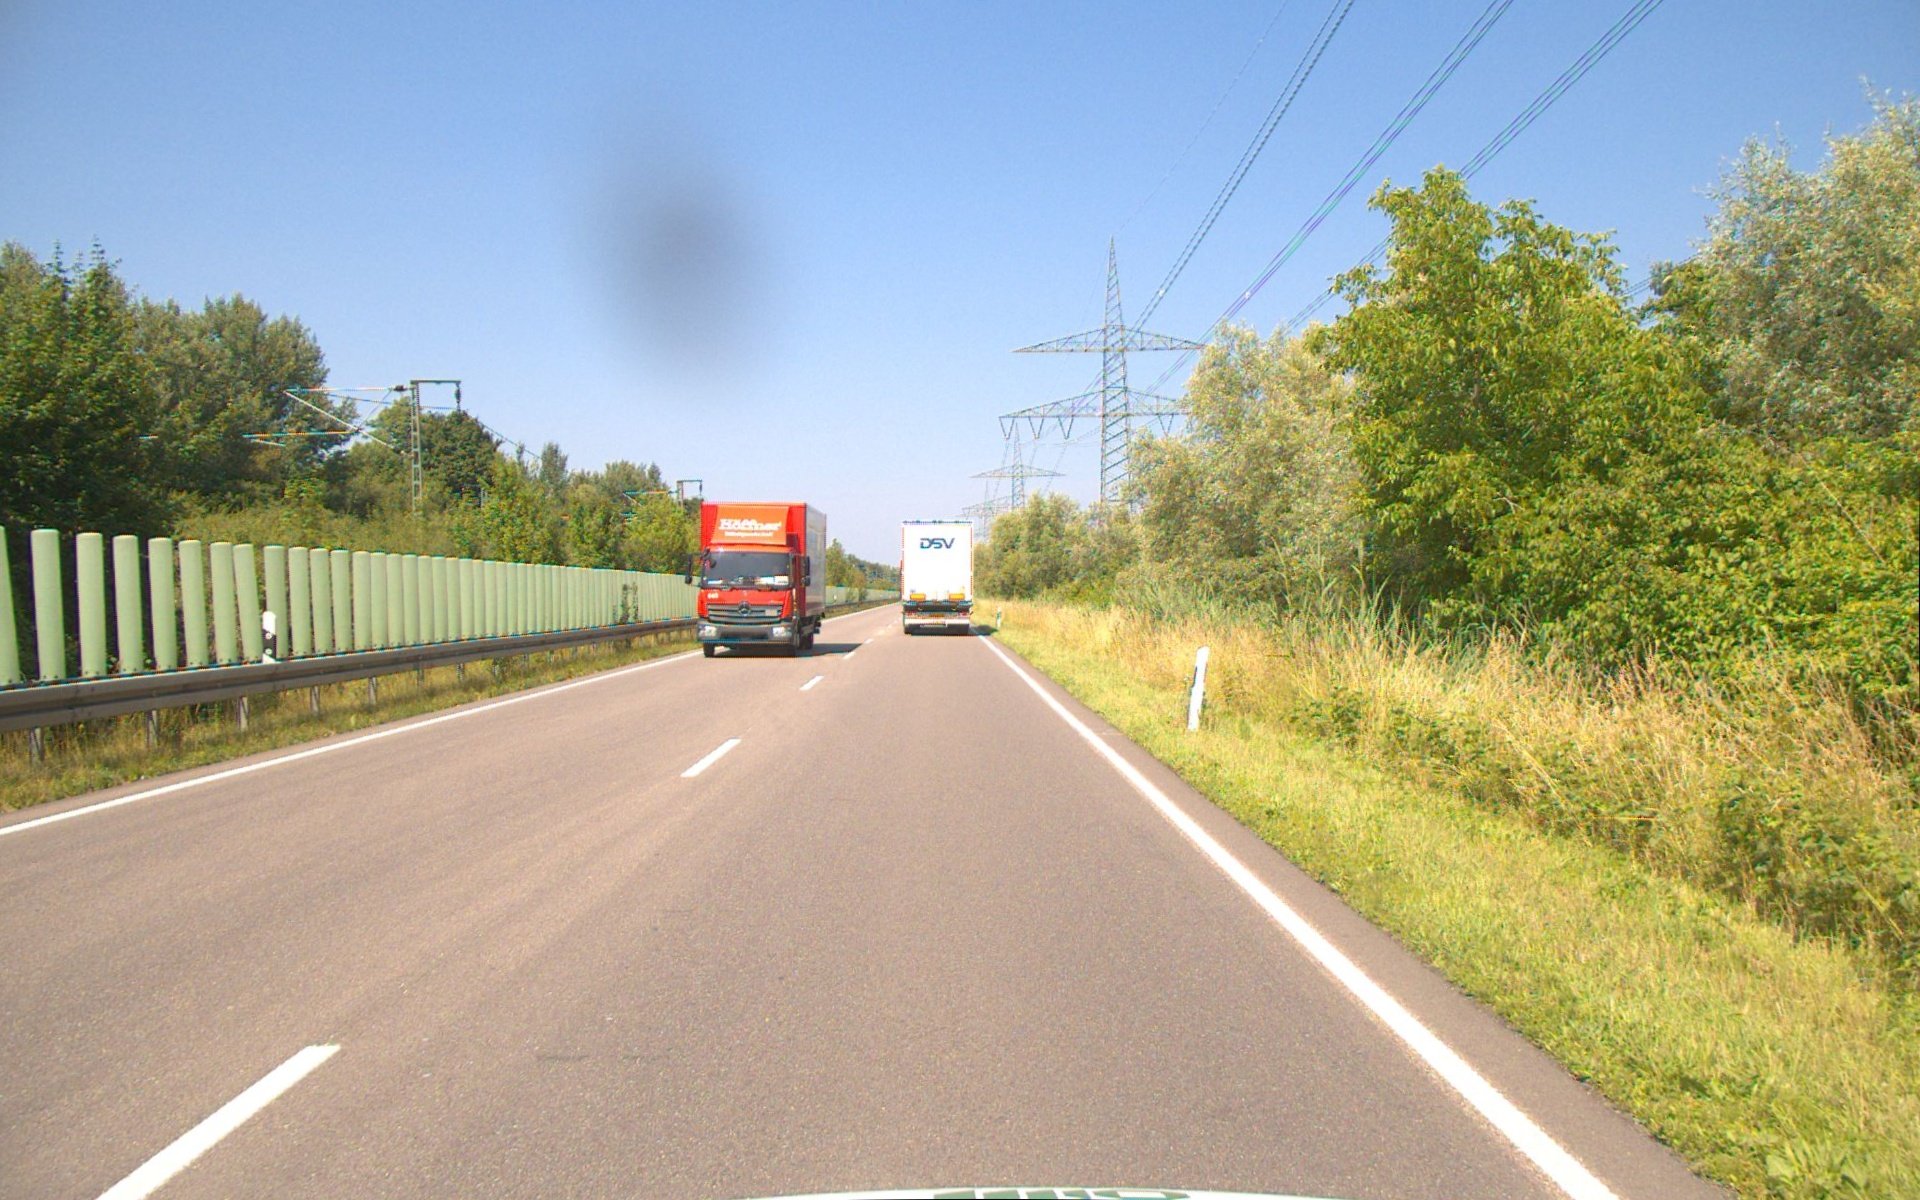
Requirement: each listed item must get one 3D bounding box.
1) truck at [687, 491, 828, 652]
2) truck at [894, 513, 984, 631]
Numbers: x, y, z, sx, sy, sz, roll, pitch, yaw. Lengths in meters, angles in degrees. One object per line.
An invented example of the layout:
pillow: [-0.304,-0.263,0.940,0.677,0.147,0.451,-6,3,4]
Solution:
truck: [-4.979,-0.678,42.332,2.678,3.662,9.524,0,0,-1]
truck: [-0.872,-1.001,63.547,3.127,4.113,12.003,0,0,-1]
